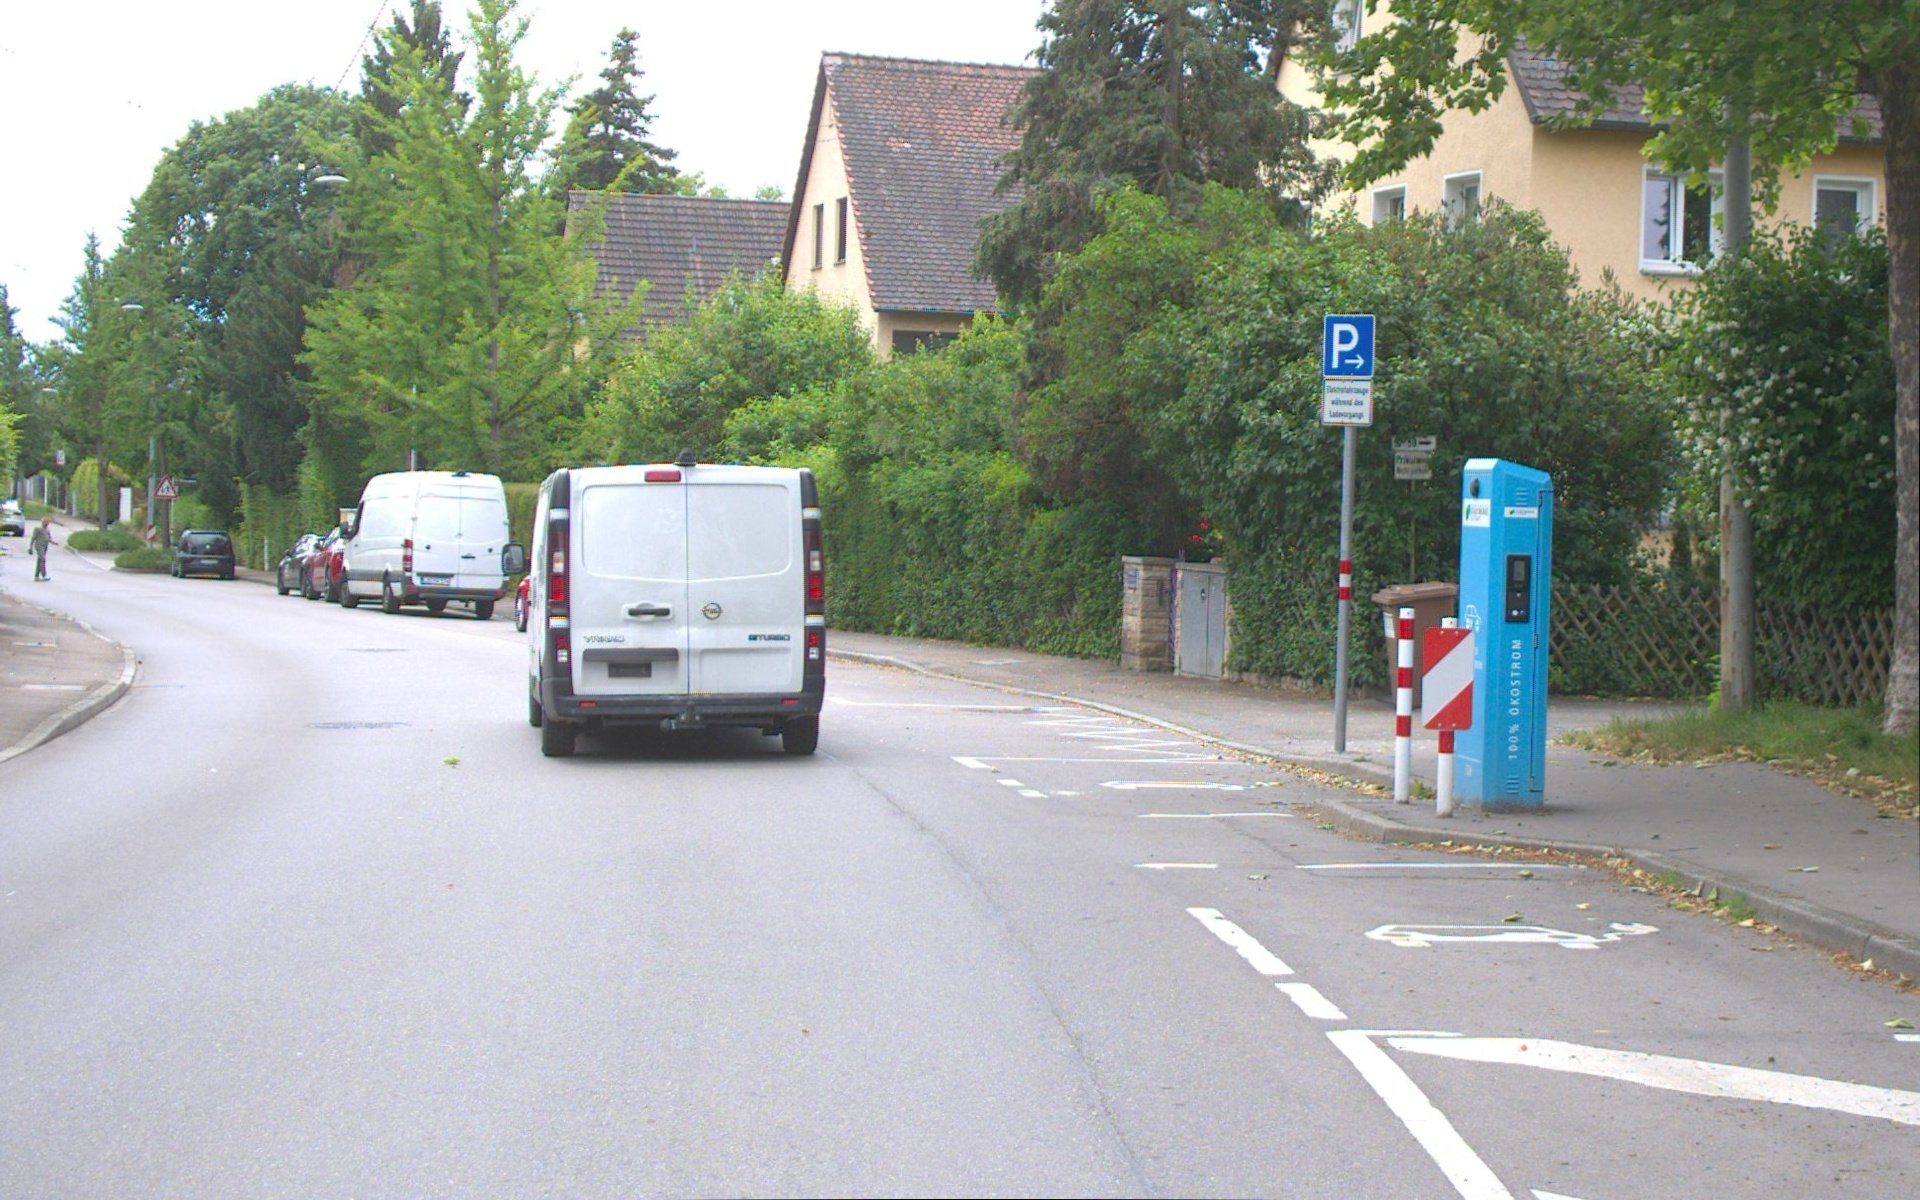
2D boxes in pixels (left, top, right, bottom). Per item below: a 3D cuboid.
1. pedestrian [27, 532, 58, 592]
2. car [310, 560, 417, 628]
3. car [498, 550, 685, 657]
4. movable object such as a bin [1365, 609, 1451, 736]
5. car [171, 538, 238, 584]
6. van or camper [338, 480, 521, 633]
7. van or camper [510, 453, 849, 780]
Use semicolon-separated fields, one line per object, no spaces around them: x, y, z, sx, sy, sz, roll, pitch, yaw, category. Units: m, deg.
-24.370;-1.007;91.362;0.555;1.554;0.553;3;3;19;pedestrian
-12.511;-0.144;71.962;1.530;1.300;4.032;1;1;-20;car
-5.567;0.033;51.533;1.712;1.462;4.269;1;1;-21;car
3.895;0.624;29.928;0.603;1.066;0.568;2;1;-3;movable object such as a bin
-22.670;-1.180;103.067;1.530;1.300;3.229;1;1;-20;car
-10.007;-0.825;64.389;2.066;2.665;6.330;2;0;-20;van or camper
-2.103;0.012;24.424;1.923;2.006;4.831;2;2;-10;van or camper
